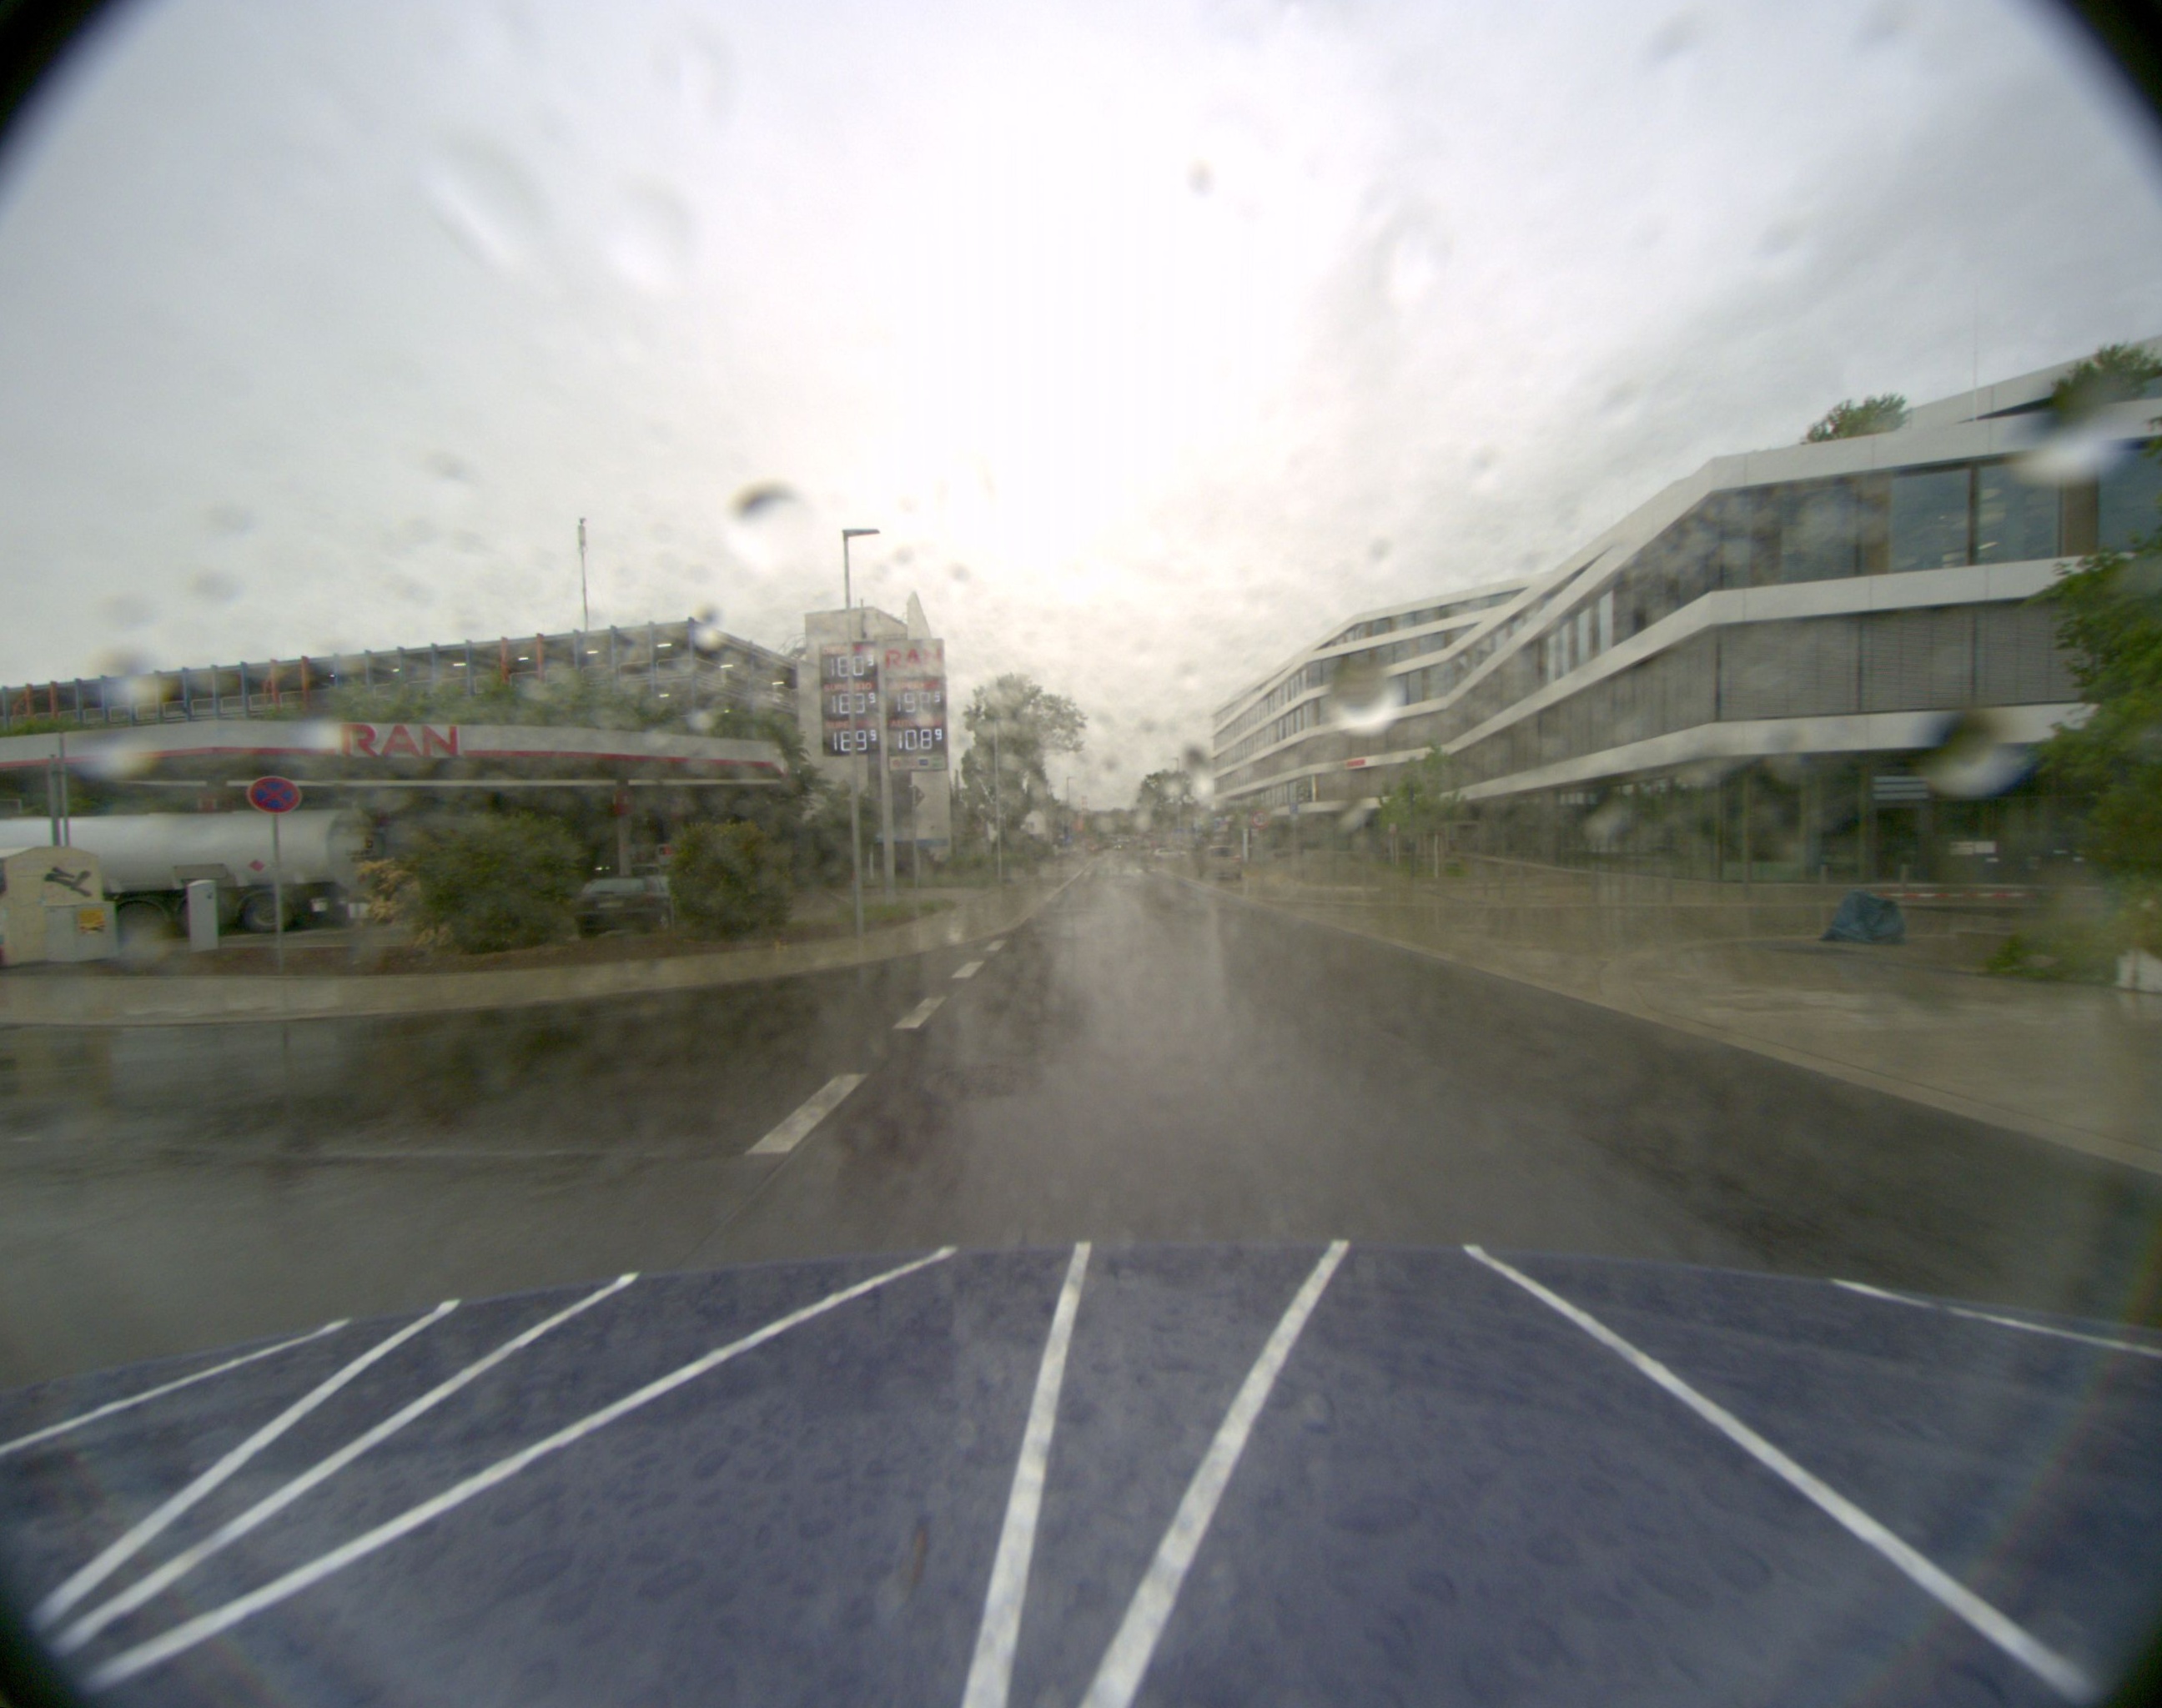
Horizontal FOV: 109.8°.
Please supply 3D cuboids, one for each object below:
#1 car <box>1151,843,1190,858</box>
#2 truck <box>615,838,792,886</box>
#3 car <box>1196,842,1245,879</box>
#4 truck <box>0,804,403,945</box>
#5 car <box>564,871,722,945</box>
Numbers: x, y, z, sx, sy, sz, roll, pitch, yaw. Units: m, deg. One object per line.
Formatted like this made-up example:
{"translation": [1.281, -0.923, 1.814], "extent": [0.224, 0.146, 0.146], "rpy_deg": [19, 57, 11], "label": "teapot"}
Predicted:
{"translation": [9.842, -0.387, 84.040], "extent": [4.165, 1.411, 2.001], "rpy_deg": [-3, 1, 6], "label": "car"}
{"translation": [-17.879, 0.424, 36.302], "extent": [7.297, 2.193, 2.085], "rpy_deg": [0, -2, -4], "label": "truck"}
{"translation": [7.008, 0.282, 38.548], "extent": [1.841, 1.696, 4.324], "rpy_deg": [-2, 1, 3], "label": "car"}
{"translation": [-27.263, 0.642, 19.939], "extent": [14.419, 3.339, 2.645], "rpy_deg": [-2, -1, -15], "label": "truck"}
{"translation": [-10.047, 1.150, 17.841], "extent": [1.694, 1.332, 4.336], "rpy_deg": [-2, 1, -8], "label": "car"}
